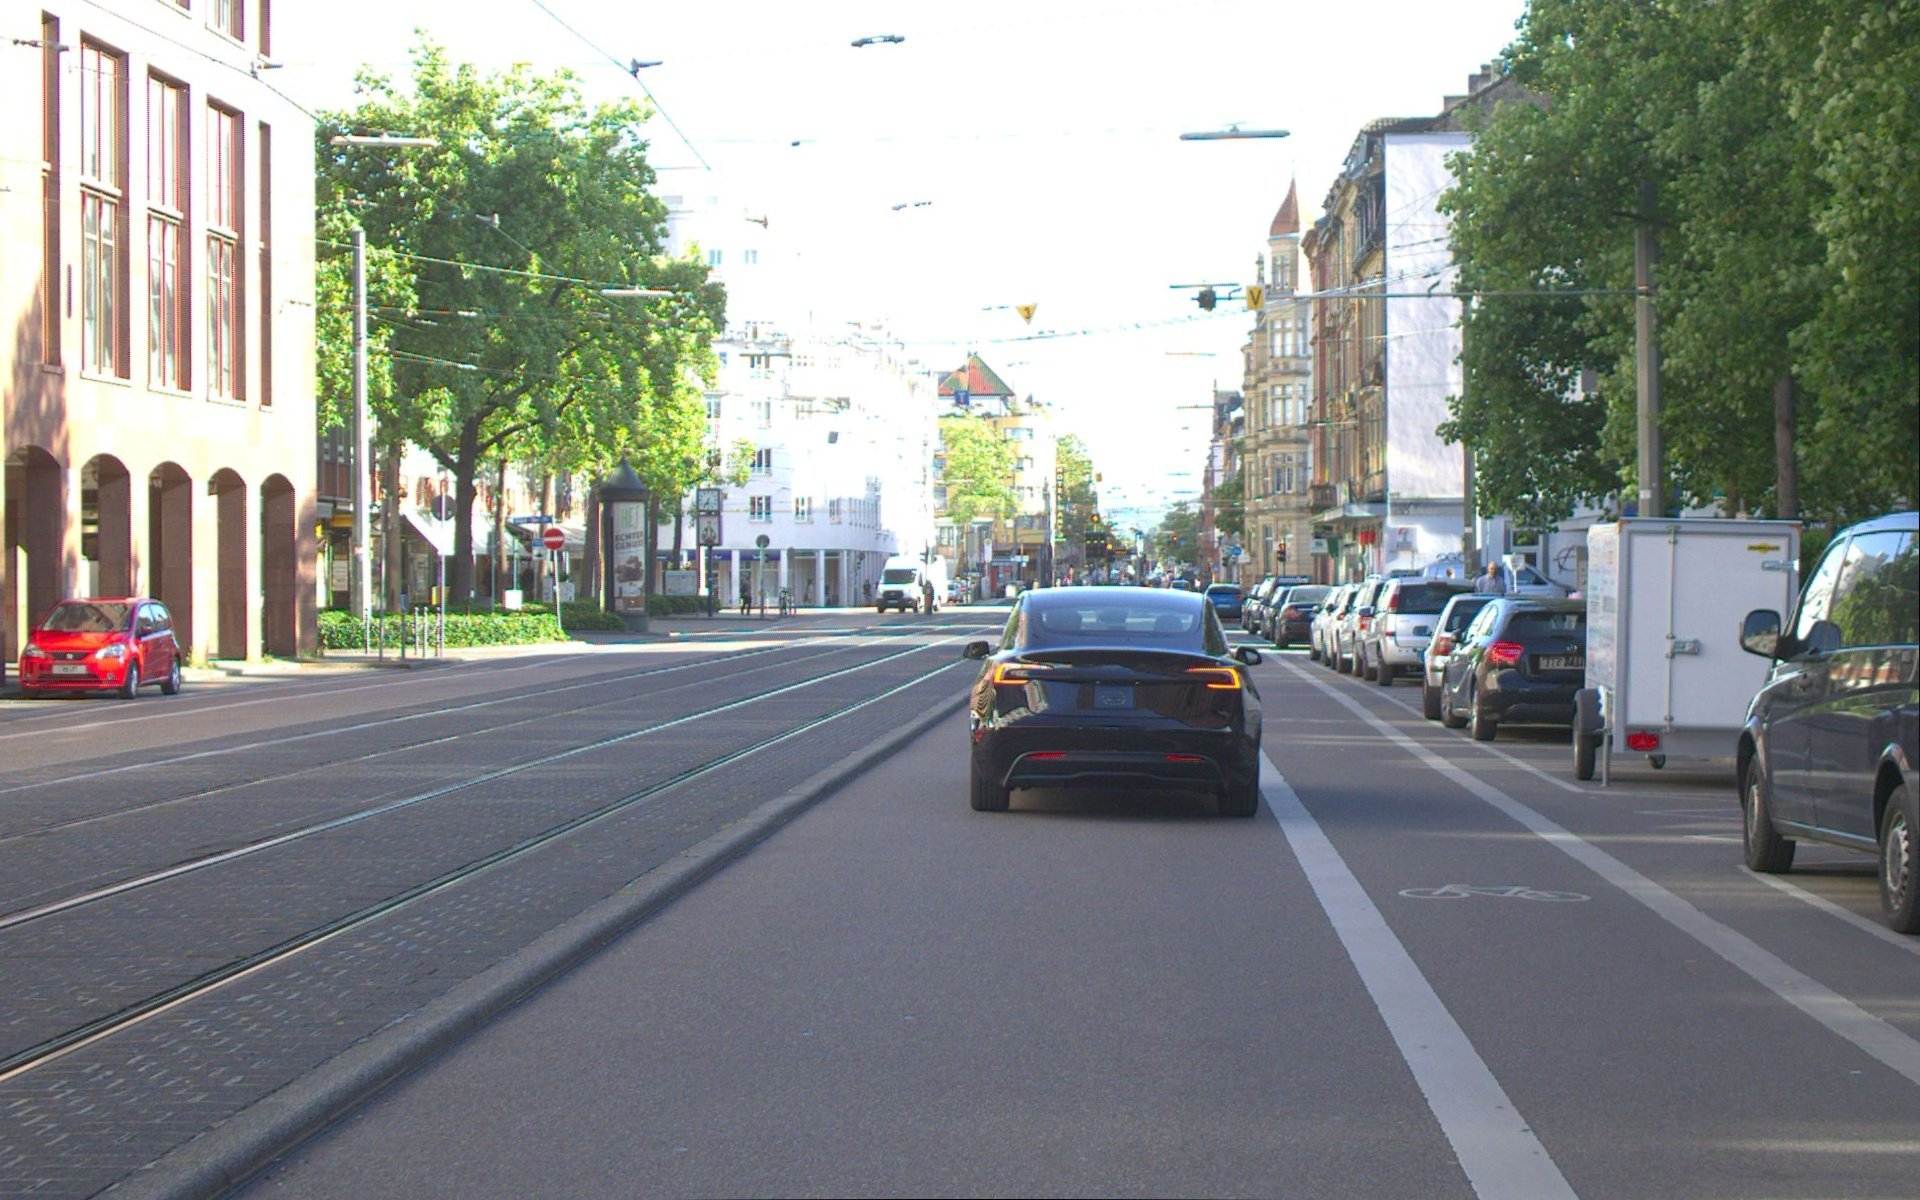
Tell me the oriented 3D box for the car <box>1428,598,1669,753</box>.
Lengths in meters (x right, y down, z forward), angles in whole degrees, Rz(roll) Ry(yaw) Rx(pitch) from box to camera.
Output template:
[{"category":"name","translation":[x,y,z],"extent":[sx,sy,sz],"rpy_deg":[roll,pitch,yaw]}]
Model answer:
[{"category":"car","translation":[5.978,0.728,35.357],"extent":[1.802,1.430,4.323],"rpy_deg":[2,0,2]}]

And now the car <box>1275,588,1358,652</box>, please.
[{"category":"car","translation":[8.412,0.465,81.446],"extent":[1.711,1.452,4.550],"rpy_deg":[1,0,3]}]

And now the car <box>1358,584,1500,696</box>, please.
[{"category":"car","translation":[7.098,0.575,52.354],"extent":[1.714,1.585,4.065],"rpy_deg":[1,1,2]}]

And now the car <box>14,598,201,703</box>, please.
[{"category":"car","translation":[-12.488,0.717,50.541],"extent":[1.659,1.417,3.620],"rpy_deg":[1,0,3]}]

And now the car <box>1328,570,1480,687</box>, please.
[{"category":"car","translation":[7.346,0.440,57.284],"extent":[1.925,1.828,4.712],"rpy_deg":[1,1,1]}]

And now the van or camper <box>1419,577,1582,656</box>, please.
[{"category":"van or camper","translation":[16.086,0.490,102.476],"extent":[4.645,2.129,1.987],"rpy_deg":[-3,0,7]}]

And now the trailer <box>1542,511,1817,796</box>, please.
[{"category":"trailer","translation":[5.755,0.397,27.874],"extent":[1.661,2.109,3.842],"rpy_deg":[2,0,5]}]

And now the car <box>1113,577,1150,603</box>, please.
[{"category":"car","translation":[10.274,-0.611,206.058],"extent":[1.993,1.520,4.000],"rpy_deg":[0,0,-1]}]

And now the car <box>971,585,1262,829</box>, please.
[{"category":"car","translation":[1.007,0.633,22.510],"extent":[1.719,1.400,3.710],"rpy_deg":[1,1,2]}]

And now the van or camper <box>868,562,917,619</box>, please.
[{"category":"van or camper","translation":[-3.212,-0.442,165.154],"extent":[2.140,2.645,6.880],"rpy_deg":[-1,0,0]}]

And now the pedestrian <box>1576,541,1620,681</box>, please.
[{"category":"pedestrian","translation":[9.010,0.157,48.577],"extent":[0.465,1.947,0.747],"rpy_deg":[-3,-1,8]}]

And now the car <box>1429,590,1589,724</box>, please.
[{"category":"car","translation":[6.418,0.625,40.464],"extent":[1.750,1.438,4.313],"rpy_deg":[1,1,8]}]

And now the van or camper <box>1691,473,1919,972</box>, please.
[{"category":"van or camper","translation":[4.987,0.510,16.359],"extent":[1.971,2.038,5.331],"rpy_deg":[2,0,2]}]

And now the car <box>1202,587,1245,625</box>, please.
[{"category":"car","translation":[10.093,0.239,131.848],"extent":[1.594,1.428,3.685],"rpy_deg":[-1,0,4]}]

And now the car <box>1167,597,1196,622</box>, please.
[{"category":"car","translation":[14.463,0.608,224.200],"extent":[1.846,1.587,3.999],"rpy_deg":[-1,0,4]}]

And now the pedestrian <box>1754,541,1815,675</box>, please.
[{"category":"pedestrian","translation":[11.947,0.117,49.832],"extent":[0.669,1.891,0.747],"rpy_deg":[-4,0,8]}]

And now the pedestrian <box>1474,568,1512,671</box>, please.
[{"category":"pedestrian","translation":[9.360,0.341,60.362],"extent":[0.611,1.802,0.602],"rpy_deg":[-1,0,8]}]

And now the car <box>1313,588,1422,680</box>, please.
[{"category":"car","translation":[7.385,0.591,62.618],"extent":[1.541,1.565,4.443],"rpy_deg":[1,0,2]}]

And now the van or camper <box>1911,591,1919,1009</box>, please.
[{"category":"van or camper","translation":[4.541,0.561,10.508],"extent":[1.931,2.030,5.475],"rpy_deg":[1,0,3]}]
